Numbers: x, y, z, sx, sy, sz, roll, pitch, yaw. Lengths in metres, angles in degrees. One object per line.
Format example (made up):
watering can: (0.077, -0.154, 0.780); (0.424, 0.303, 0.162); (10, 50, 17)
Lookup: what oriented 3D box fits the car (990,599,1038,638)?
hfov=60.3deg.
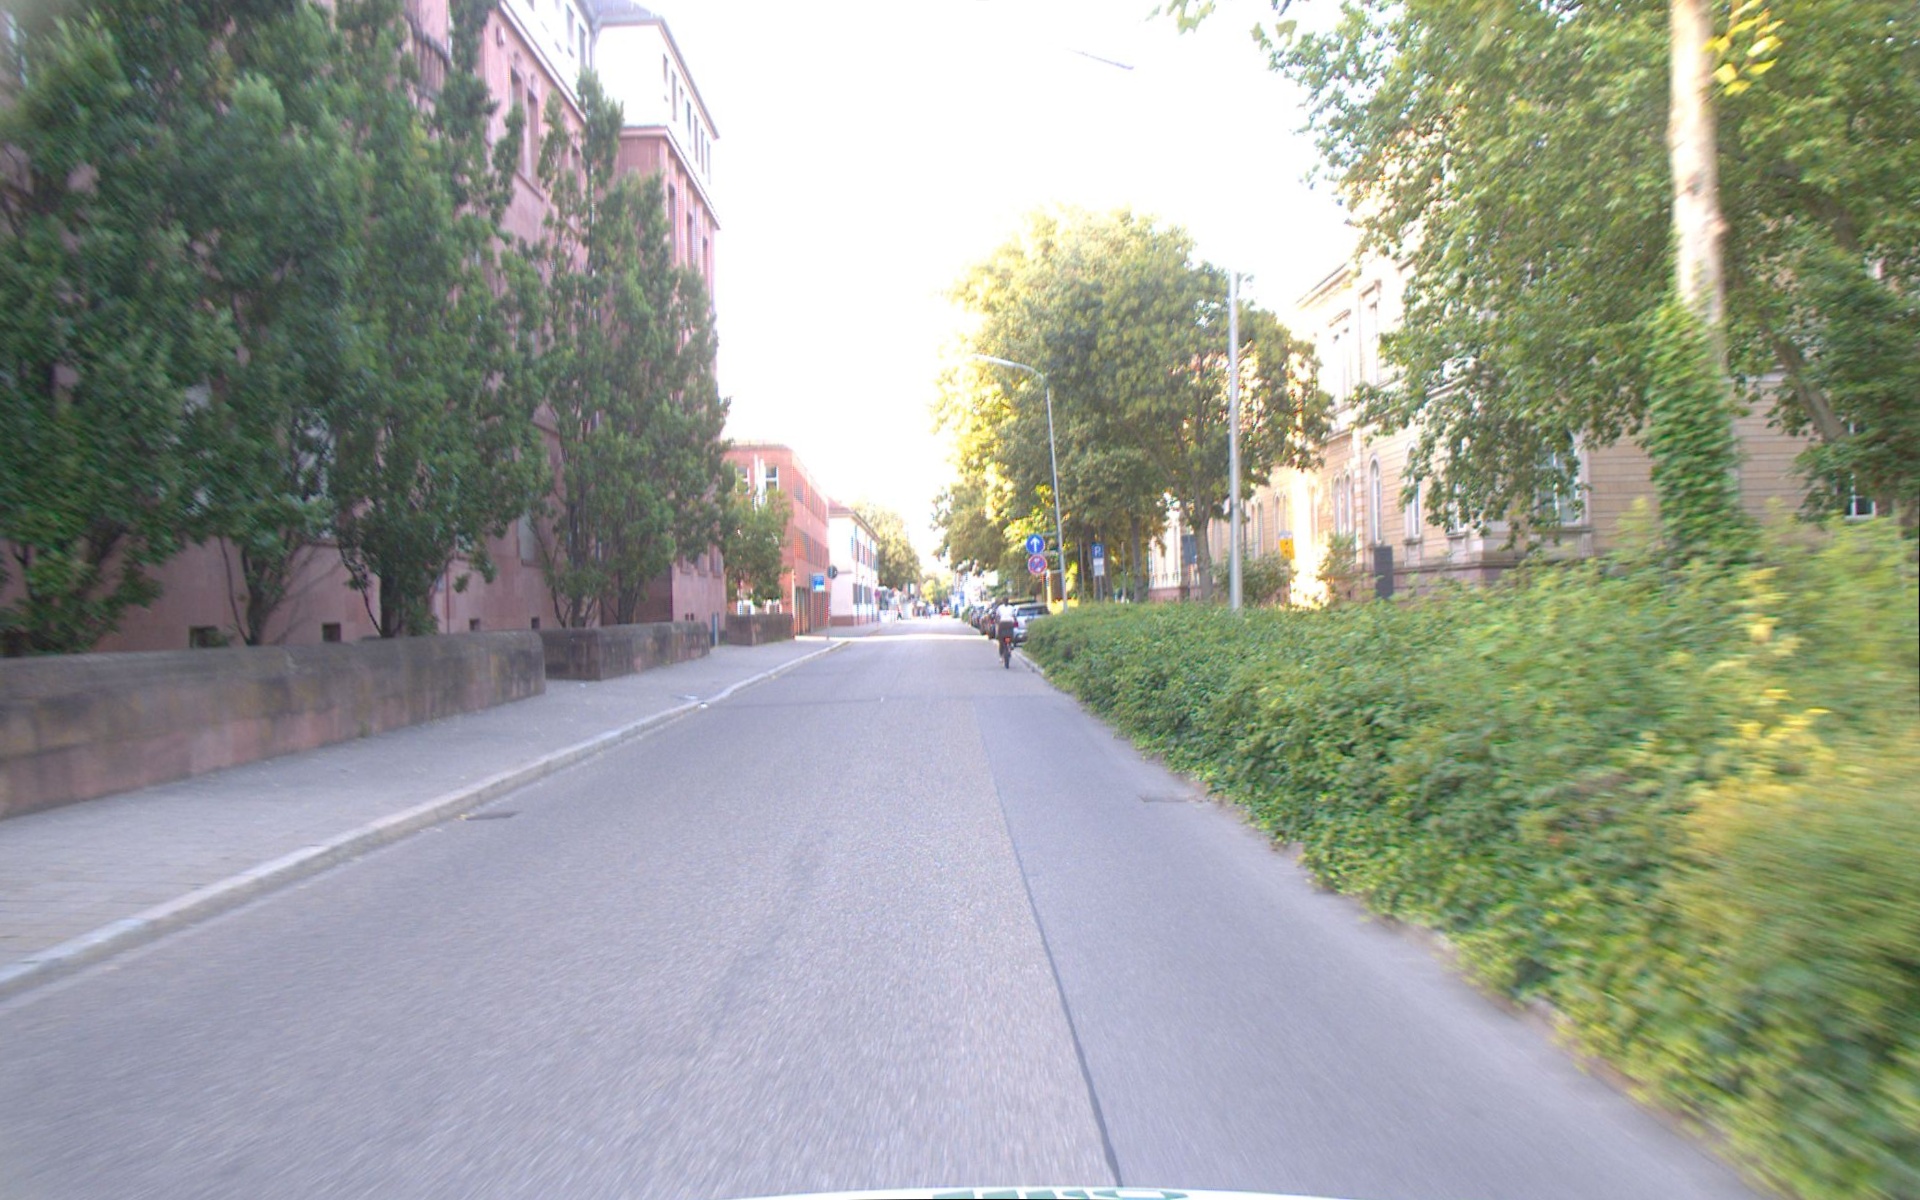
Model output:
car: (2.296, 0.793, 71.254); (1.681, 1.564, 4.046); (-2, 0, -3)

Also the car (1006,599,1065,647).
car: (2.593, 0.810, 57.552); (1.652, 1.472, 3.670); (-4, -1, -2)

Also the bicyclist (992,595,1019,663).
bicyclist: (1.149, 0.715, 41.670); (0.626, 1.696, 0.842); (0, 0, -3)

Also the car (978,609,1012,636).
car: (2.244, 1.442, 107.664); (1.953, 1.612, 3.998); (-2, 0, -2)

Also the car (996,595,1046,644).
car: (2.316, 0.716, 63.490); (1.680, 1.742, 4.472); (-2, 0, 0)

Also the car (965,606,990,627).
car: (1.552, 1.450, 145.662); (1.953, 1.779, 3.998); (-2, 0, -2)

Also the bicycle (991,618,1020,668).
bicycle: (1.143, 1.074, 41.766); (0.625, 1.214, 1.875); (0, 0, -2)

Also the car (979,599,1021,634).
car: (2.103, 0.841, 87.240); (1.953, 1.735, 3.998); (-2, 0, -2)
